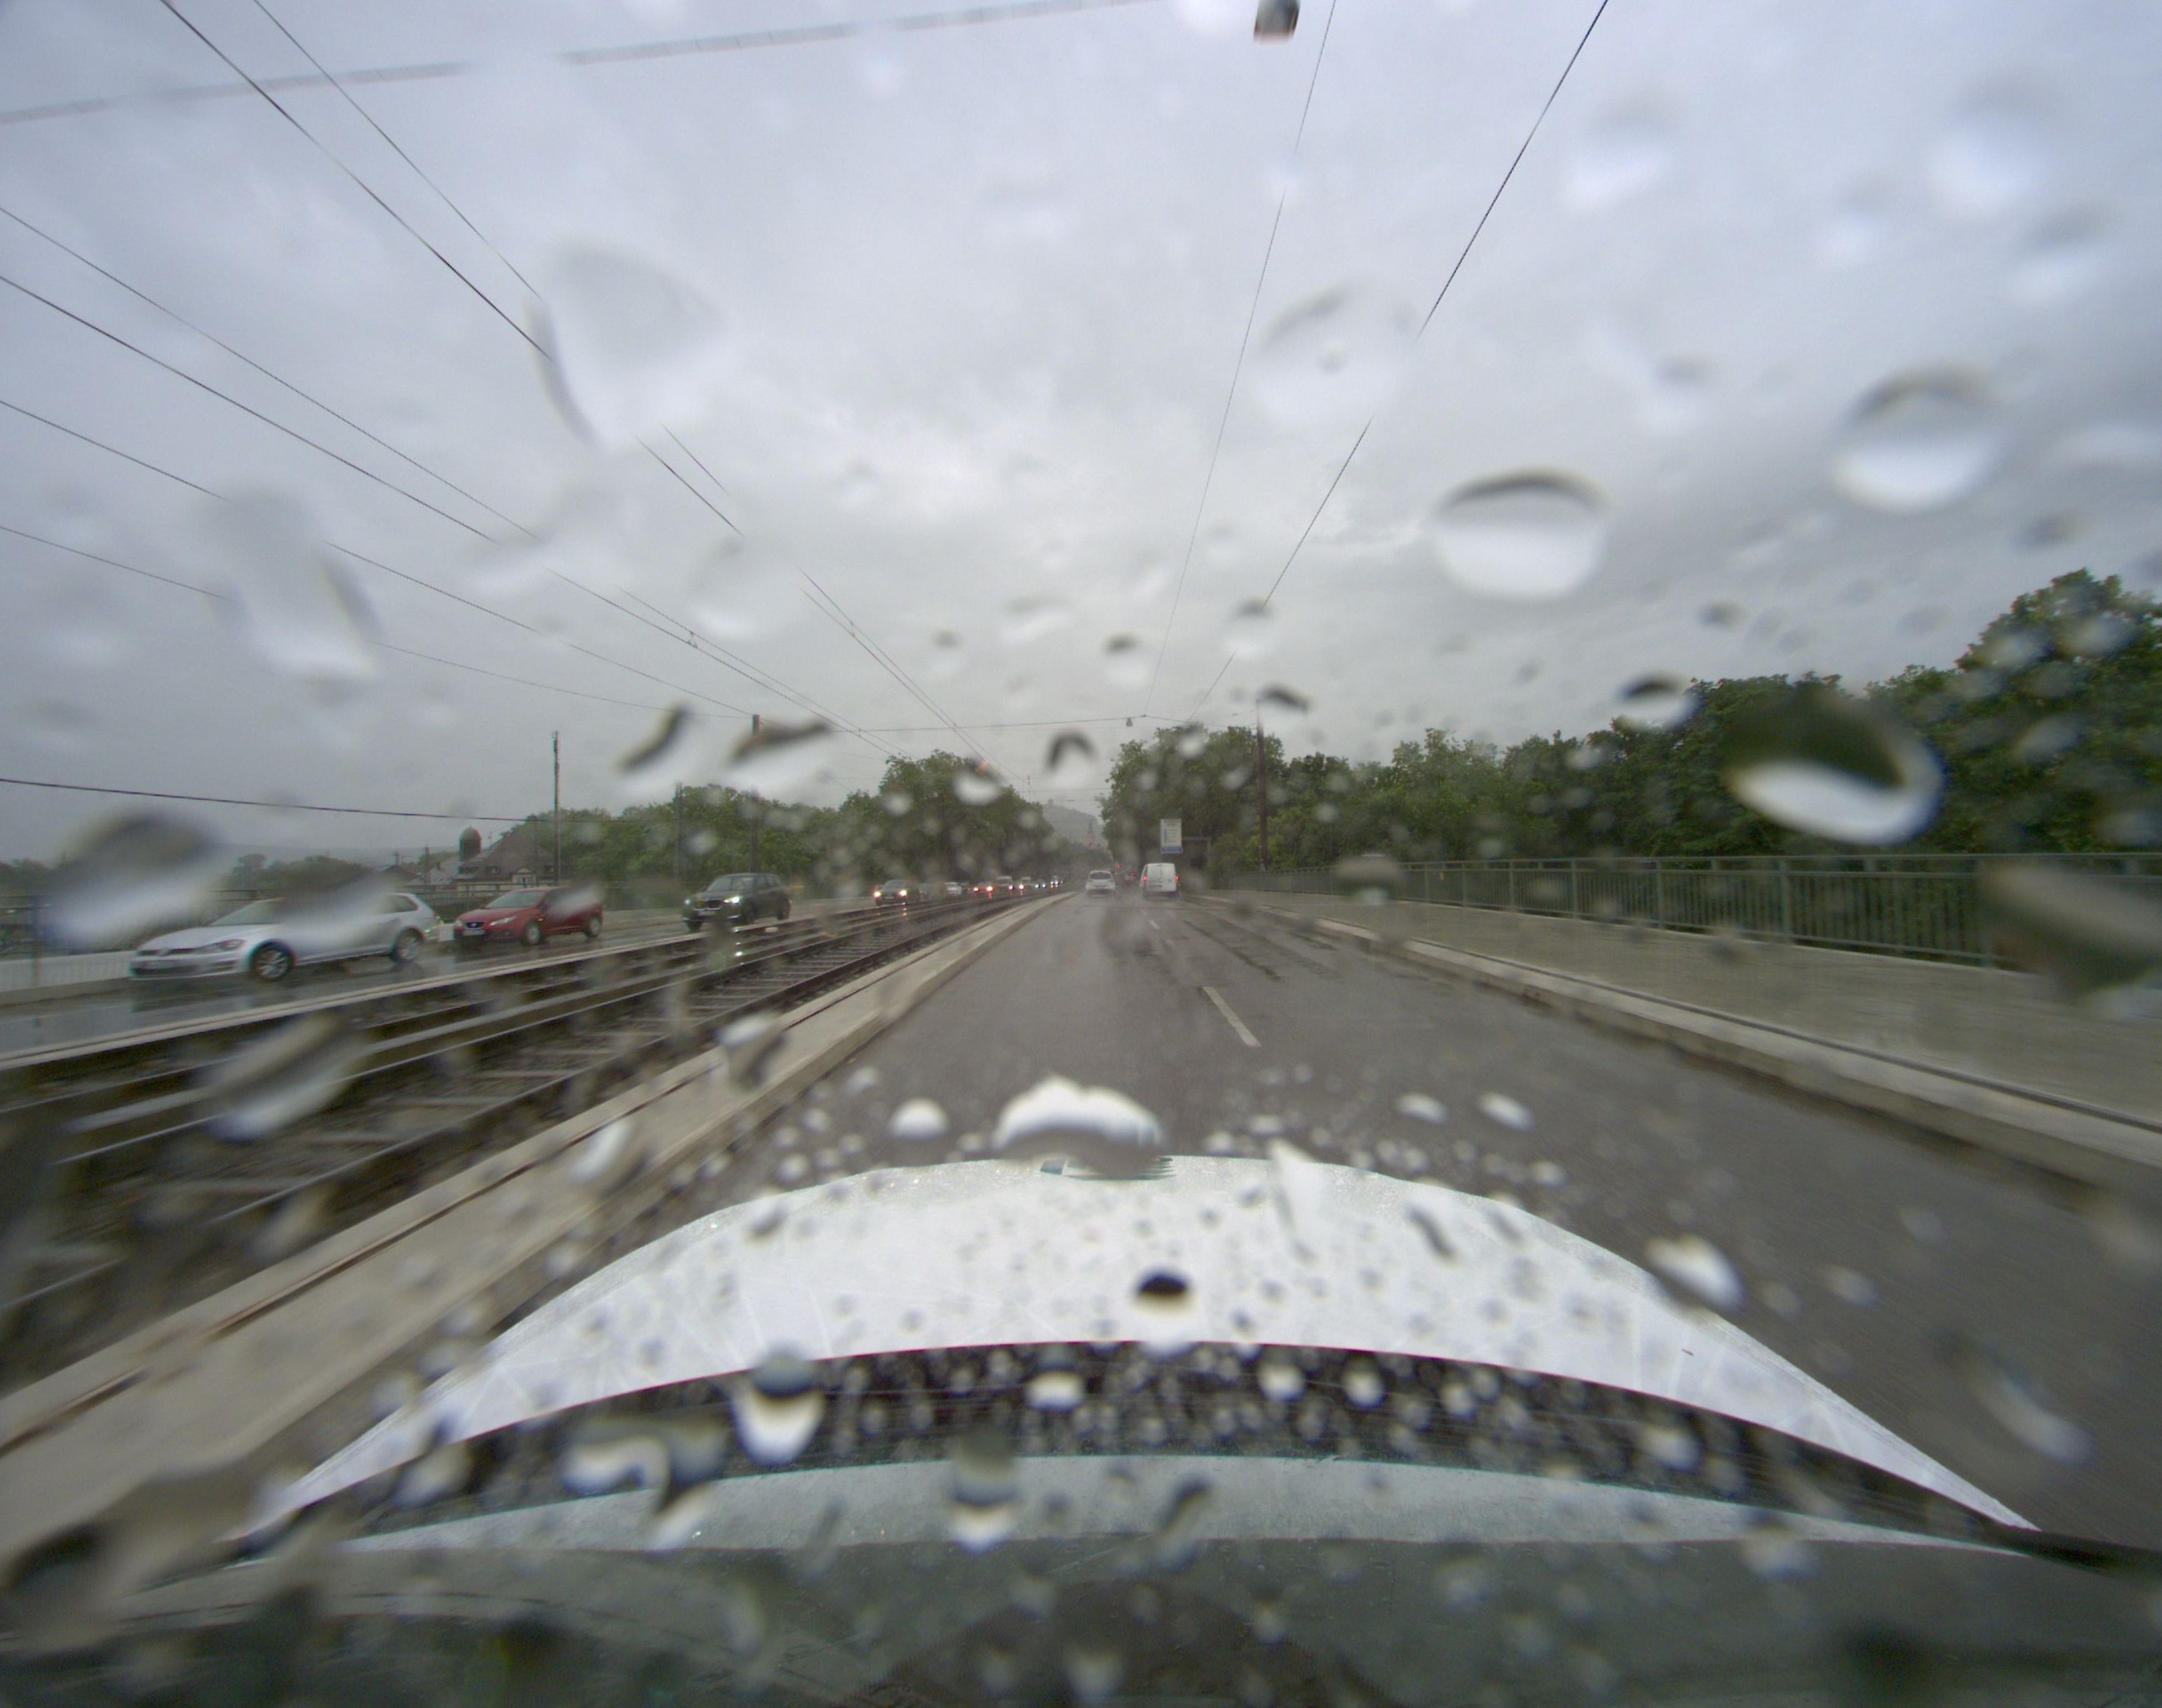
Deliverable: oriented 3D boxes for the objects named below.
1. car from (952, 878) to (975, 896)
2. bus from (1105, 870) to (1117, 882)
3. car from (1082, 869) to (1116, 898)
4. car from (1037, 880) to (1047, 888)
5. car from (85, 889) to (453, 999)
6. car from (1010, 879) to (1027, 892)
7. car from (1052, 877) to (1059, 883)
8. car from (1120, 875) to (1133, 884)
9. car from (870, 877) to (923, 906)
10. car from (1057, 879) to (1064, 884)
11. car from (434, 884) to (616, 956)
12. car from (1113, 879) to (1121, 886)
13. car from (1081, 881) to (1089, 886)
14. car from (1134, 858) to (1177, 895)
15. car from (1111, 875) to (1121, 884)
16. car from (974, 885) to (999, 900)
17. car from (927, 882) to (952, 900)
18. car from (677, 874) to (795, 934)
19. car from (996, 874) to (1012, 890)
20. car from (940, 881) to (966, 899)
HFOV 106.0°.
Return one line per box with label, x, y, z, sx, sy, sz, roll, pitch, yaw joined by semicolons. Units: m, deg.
car;-12.099;3.392;84.217;1.501;1.672;4.833;-3;-1;0
bus;9.601;6.917;258.030;3.375;3.837;9.747;0;-1;4
car;1.168;1.790;50.900;1.985;1.717;4.004;0;-1;4
car;-7.799;6.009;161.288;1.500;1.401;4.709;-3;-1;2
car;-14.298;1.489;14.858;1.987;1.456;4.620;-3;-1;1
car;-8.200;4.168;107.186;1.809;1.368;4.268;0;2;2
car;-7.377;7.495;233.880;1.798;1.350;4.265;-3;-1;2
car;7.285;4.067;129.553;1.985;1.321;4.004;0;-1;4
car;-9.929;2.000;44.204;1.792;1.482;4.085;0;-1;2
car;-6.532;8.706;258.541;1.798;1.350;4.265;-3;-1;2
car;-14.031;1.598;20.905;1.615;1.456;4.322;-3;-1;1
car;9.457;7.441;213.661;1.985;1.827;4.004;0;-1;4
car;1.125;8.739;239.369;1.795;1.350;4.272;-3;-1;7
car;3.603;1.095;40.075;1.985;1.726;4.004;0;-1;4
car;7.416;5.418;173.126;1.985;1.827;4.004;0;-1;4
car;-9.039;3.647;77.894;1.792;1.316;4.085;0;-1;2
car;-12.439;3.249;71.700;1.502;1.401;4.403;-3;-1;-3
car;-10.522;1.473;25.192;1.811;1.654;4.002;0;-1;2
car;-11.571;4.226;122.479;1.735;2.169;5.813;-3;-1;0
car;-12.251;3.411;78.199;1.501;1.401;4.893;-7;-1;1
